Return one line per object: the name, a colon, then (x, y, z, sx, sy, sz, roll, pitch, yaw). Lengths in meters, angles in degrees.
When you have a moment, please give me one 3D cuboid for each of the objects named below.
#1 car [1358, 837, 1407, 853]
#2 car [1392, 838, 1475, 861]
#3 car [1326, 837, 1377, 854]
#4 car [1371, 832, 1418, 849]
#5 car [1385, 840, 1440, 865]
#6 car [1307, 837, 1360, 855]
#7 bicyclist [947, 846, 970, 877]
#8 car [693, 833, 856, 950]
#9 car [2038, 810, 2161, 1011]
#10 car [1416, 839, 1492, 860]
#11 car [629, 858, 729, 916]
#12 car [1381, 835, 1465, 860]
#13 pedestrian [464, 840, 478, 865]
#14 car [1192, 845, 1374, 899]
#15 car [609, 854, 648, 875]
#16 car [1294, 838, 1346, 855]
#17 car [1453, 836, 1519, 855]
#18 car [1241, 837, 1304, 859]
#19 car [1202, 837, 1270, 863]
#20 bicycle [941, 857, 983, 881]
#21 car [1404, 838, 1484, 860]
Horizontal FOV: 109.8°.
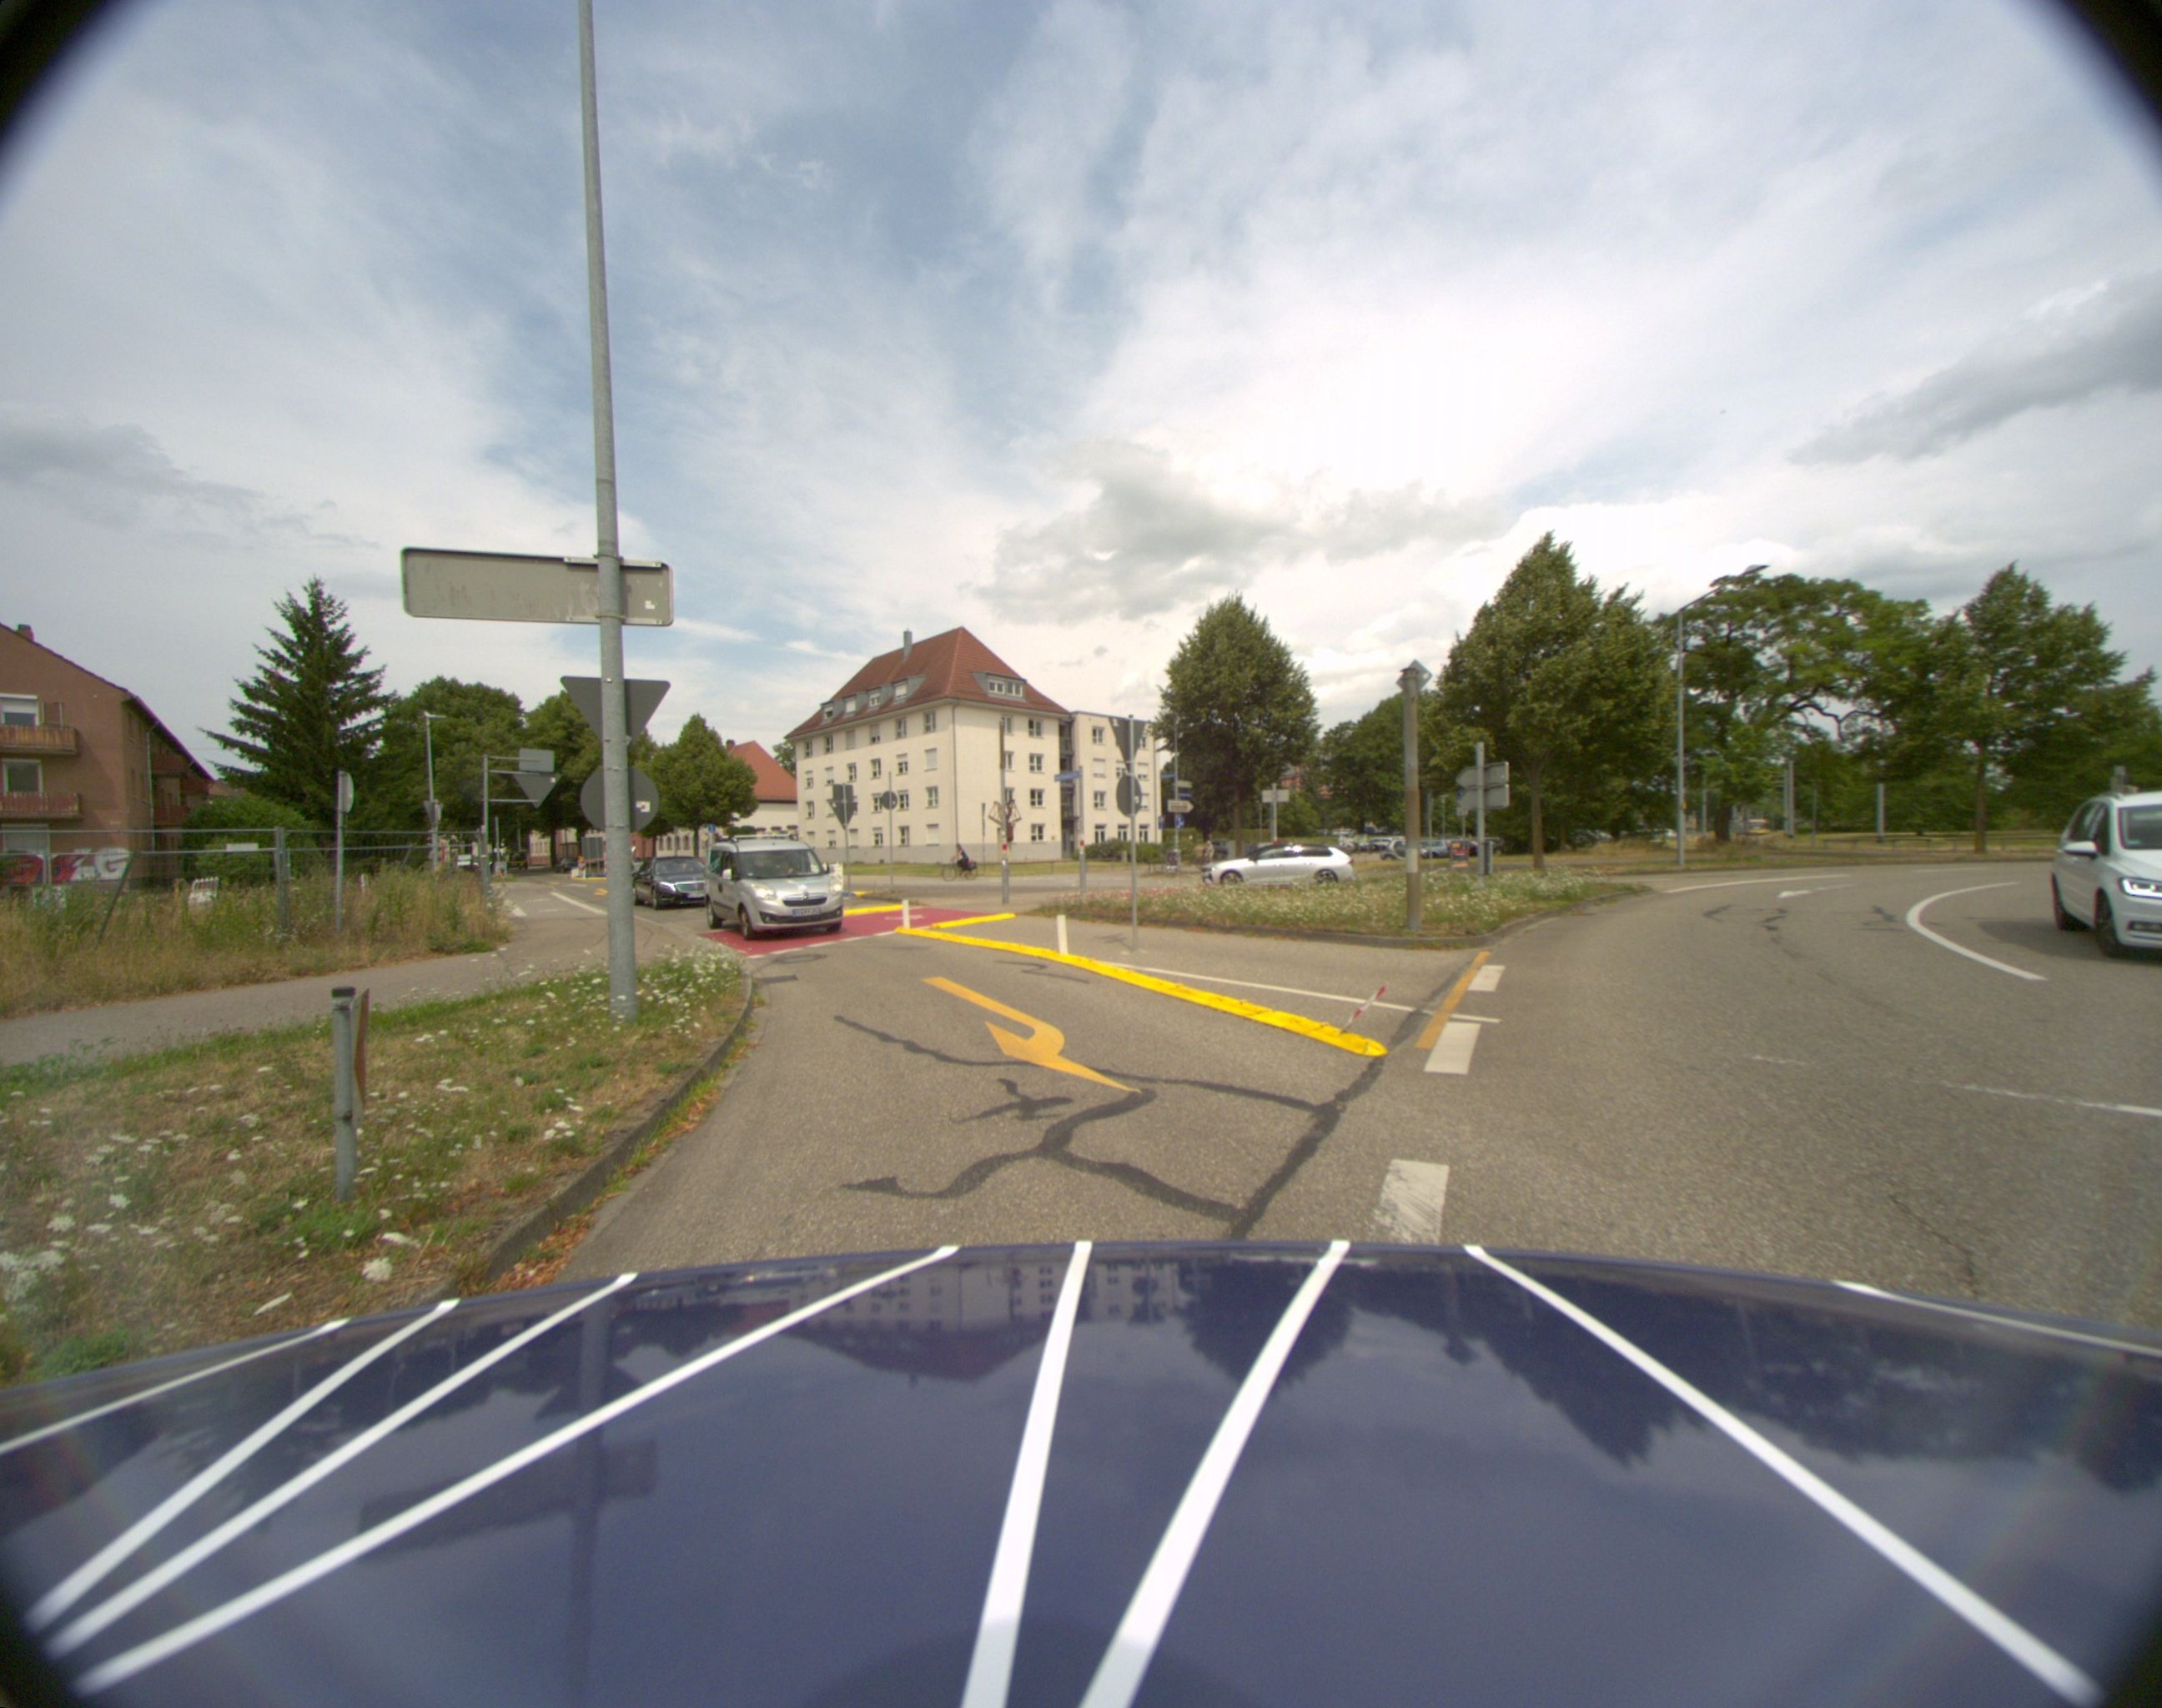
car: (29.502, -0.871, 74.433, 3.995, 1.460, 1.821, 0, 2, 43)
car: (24.417, -0.319, 52.759, 4.874, 1.463, 1.836, 0, 2, 45)
car: (24.891, -0.748, 69.906, 3.995, 1.460, 1.821, 0, 2, 43)
car: (32.267, -1.394, 78.279, 3.996, 1.565, 1.821, -1, 1, 43)
car: (21.145, -0.101, 48.531, 2.908, 1.415, 1.487, -3, -1, 38)
car: (22.267, -0.719, 67.030, 3.996, 1.460, 1.821, 0, 2, 43)
bicyclist: (-5.685, 0.346, 35.323, 0.805, 1.415, 0.600, -3, 2, -38)
car: (-6.246, 0.610, 15.165, 1.814, 1.936, 4.571, -3, 2, -37)
car: (11.379, 0.406, 7.578, 4.363, 1.656, 1.933, -4, 1, -43)
car: (27.554, -0.361, 56.256, 4.695, 1.463, 1.836, 0, 2, 45)
car: (-12.254, 0.912, 22.994, 1.822, 1.495, 4.856, -3, 1, -37)
car: (22.700, -0.417, 50.554, 4.694, 1.463, 1.836, -3, 0, 42)
pedestrian: (-51.158, -0.130, 63.727, 0.857, 2.002, 0.730, -3, 2, -40)
car: (6.091, 0.546, 23.416, 5.176, 1.474, 2.001, -1, 2, 10)
car: (-33.717, 0.761, 56.580, 1.632, 1.510, 4.206, -3, 2, -42)
car: (20.617, -0.646, 65.654, 3.995, 1.460, 1.618, 0, 2, 43)
car: (32.787, -0.651, 61.567, 4.374, 1.463, 1.836, 0, 2, 45)
car: (15.082, -0.484, 59.963, 2.004, 1.589, 4.394, -3, 2, -45)
car: (11.379, -0.294, 55.883, 4.487, 1.754, 2.004, 0, 2, 43)
bicycle: (-5.532, 0.706, 35.448, 1.832, 1.040, 0.600, -2, 2, -38)
car: (26.006, -0.338, 54.573, 4.874, 1.463, 1.836, 0, 2, 45)
